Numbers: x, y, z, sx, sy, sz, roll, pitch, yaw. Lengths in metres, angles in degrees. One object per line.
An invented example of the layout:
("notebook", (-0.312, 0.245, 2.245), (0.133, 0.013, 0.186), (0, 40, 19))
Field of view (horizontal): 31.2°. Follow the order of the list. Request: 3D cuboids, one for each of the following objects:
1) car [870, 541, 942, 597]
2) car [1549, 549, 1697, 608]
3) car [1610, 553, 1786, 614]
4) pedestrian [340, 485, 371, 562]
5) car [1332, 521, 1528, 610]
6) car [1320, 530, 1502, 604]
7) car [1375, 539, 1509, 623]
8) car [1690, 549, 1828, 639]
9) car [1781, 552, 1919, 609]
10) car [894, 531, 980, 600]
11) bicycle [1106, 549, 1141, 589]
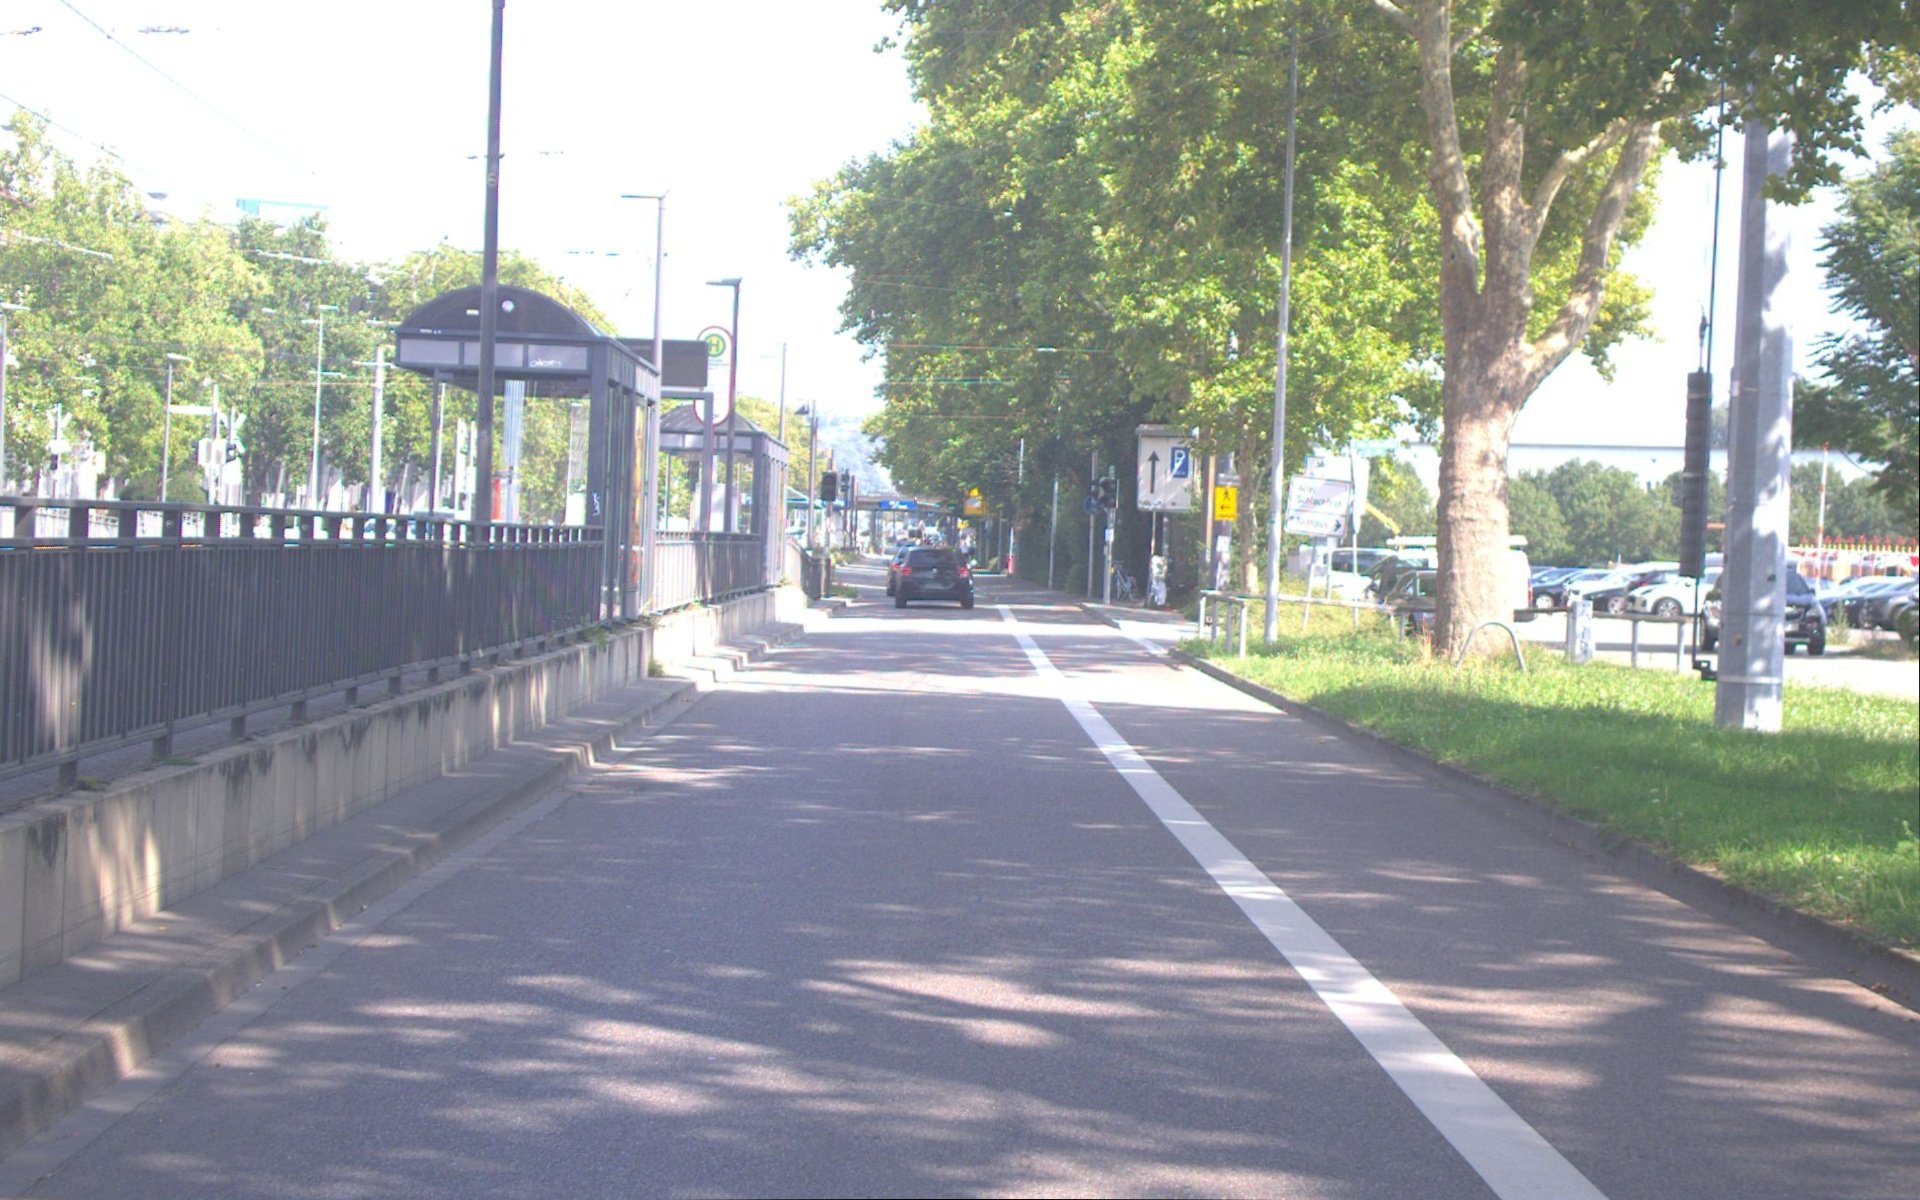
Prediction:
("car", (-1.557, -0.909, 98.590), (1.973, 1.532, 4.000), (-1, 1, -2))
("car", (21.693, -0.724, 112.599), (4.343, 1.707, 1.948), (3, 1, -2))
("car", (20.319, -0.452, 94.765), (4.343, 1.459, 1.948), (3, 1, -2))
("pedestrian", (-14.327, -1.807, 81.459), (0.707, 1.815, 0.773), (0, 0, -10))
("car", (10.386, -0.773, 76.168), (4.103, 1.912, 1.847), (1, 1, 2))
("car", (10.739, -0.805, 82.120), (3.987, 1.581, 2.000), (2, 1, -1))
("car", (8.755, -0.373, 62.771), (1.728, 1.443, 4.551), (1, 1, -1))
("car", (14.839, -0.142, 64.010), (1.607, 1.570, 3.797), (1, 1, -1))
("car", (25.810, -0.545, 97.773), (4.343, 1.459, 1.948), (3, 1, -2))
("car", (-0.552, -0.819, 79.030), (1.907, 1.532, 4.000), (0, 1, -1))
("bicycle", (4.332, -0.836, 91.259), (0.610, 1.018, 2.403), (1, 1, -5))
